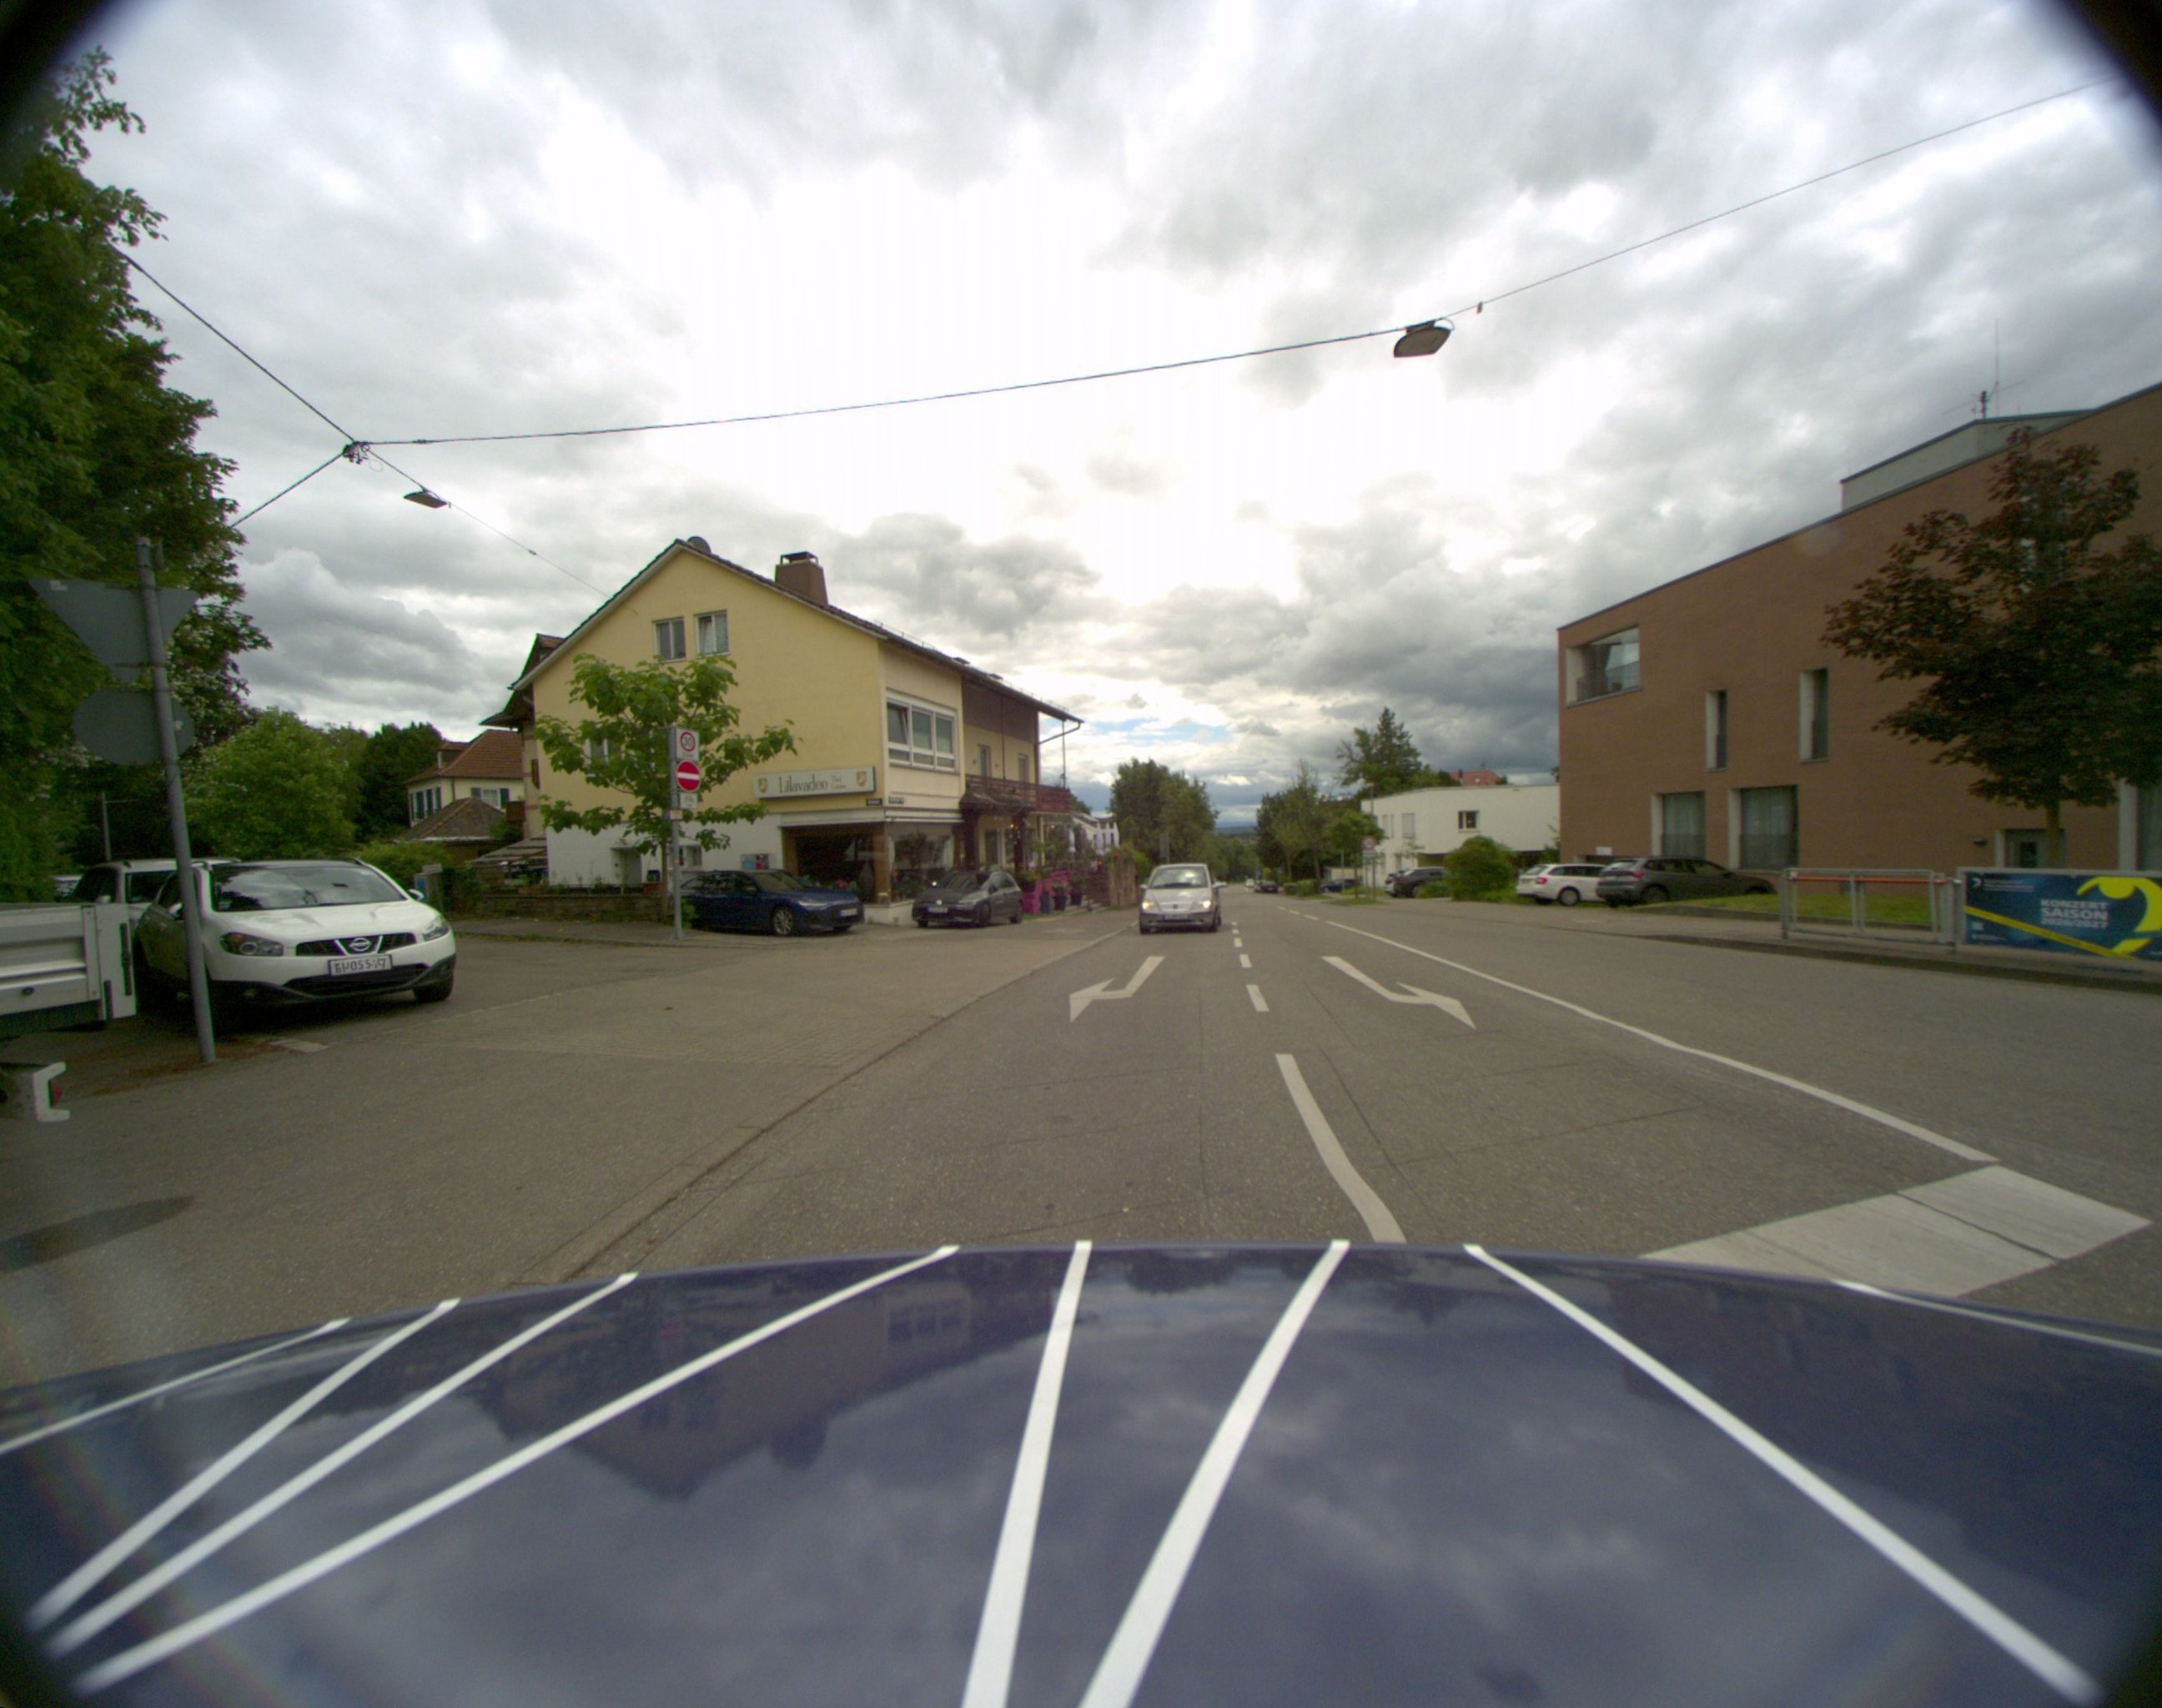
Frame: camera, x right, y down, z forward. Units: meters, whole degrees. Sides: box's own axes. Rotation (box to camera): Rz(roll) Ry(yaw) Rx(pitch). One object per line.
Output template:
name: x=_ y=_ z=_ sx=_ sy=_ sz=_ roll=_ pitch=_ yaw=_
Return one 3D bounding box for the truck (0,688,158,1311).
truck: x=-5.677 y=0.569 z=0.389 sx=2.401 sy=2.338 sz=6.193 roll=-1 pitch=0 yaw=9

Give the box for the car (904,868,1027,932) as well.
car: x=-2.877 y=1.189 z=19.854 sx=1.872 sy=1.483 sz=3.888 roll=-1 pitch=-3 yaw=13

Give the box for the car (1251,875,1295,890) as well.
car: x=21.093 y=3.121 z=83.728 sx=4.431 sy=1.549 sz=2.001 roll=-1 pitch=0 yaw=5

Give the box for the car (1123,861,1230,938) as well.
car: x=2.396 y=1.058 z=18.111 sx=1.996 sy=1.586 sz=4.006 roll=-2 pitch=-3 yaw=14

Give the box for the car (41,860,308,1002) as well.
car: x=-13.170 y=0.964 z=10.997 sx=4.056 sy=1.651 sz=1.872 roll=-1 pitch=2 yaw=32

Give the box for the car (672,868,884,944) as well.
car: x=-6.727 y=1.094 z=16.898 sx=4.219 sy=1.519 sz=1.936 roll=-1 pitch=-1 yaw=22

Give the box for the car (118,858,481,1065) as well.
car: x=-8.444 y=0.922 z=8.143 sx=4.056 sy=1.631 sz=1.872 roll=-1 pitch=2 yaw=33

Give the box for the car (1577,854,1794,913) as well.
car: x=16.906 y=0.813 z=21.474 sx=4.431 sy=1.549 sz=2.001 roll=-1 pitch=0 yaw=5

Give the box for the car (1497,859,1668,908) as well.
car: x=16.956 y=0.977 z=25.877 sx=4.431 sy=1.549 sz=2.001 roll=-1 pitch=0 yaw=5

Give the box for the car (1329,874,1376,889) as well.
car: x=29.167 y=2.976 z=81.643 sx=4.431 sy=1.549 sz=2.001 roll=-1 pitch=0 yaw=5
